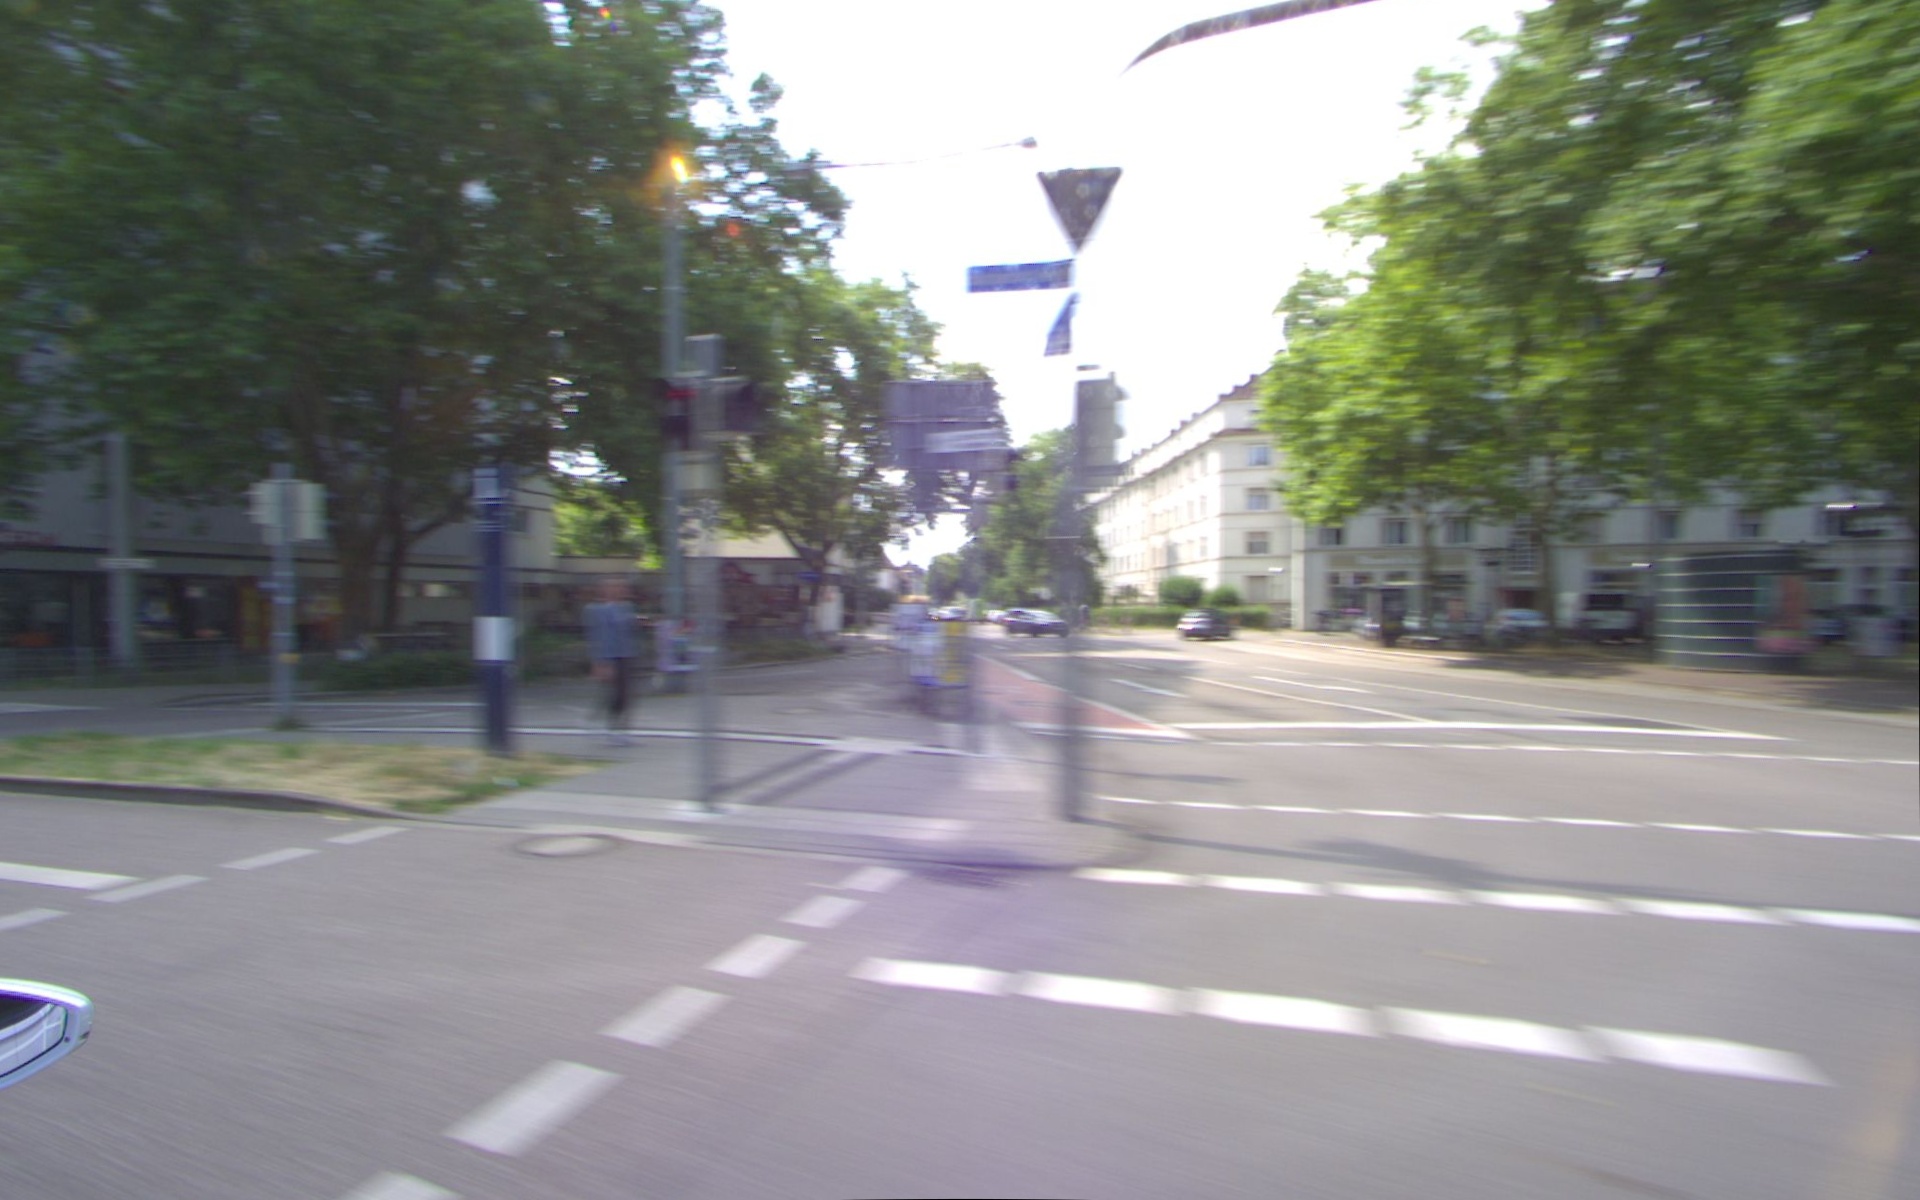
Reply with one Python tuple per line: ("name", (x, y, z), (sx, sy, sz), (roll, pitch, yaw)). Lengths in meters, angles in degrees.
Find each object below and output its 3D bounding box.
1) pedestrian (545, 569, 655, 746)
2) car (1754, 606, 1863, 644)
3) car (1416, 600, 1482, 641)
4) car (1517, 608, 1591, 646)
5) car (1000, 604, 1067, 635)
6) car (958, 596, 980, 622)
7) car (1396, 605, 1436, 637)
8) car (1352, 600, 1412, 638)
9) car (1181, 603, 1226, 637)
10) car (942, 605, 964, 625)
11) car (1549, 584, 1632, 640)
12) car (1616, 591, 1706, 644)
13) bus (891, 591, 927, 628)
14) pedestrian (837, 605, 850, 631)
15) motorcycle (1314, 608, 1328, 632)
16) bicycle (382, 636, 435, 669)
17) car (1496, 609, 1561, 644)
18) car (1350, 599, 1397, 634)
("pedestrian", (-3.842, 0.589, 10.718), (0.871, 1.807, 0.693), (0, 0, 20))
("car", (33.671, 0.951, 39.879), (1.964, 1.441, 3.993), (0, -1, 19))
("car", (21.779, 0.889, 44.756), (1.877, 1.712, 4.533), (0, -1, 16))
("car", (22.959, 1.037, 38.804), (1.442, 1.407, 3.066), (0, 0, 9))
("car", (4.124, 1.089, 56.696), (1.766, 1.683, 4.294), (0, 0, -29))
("car", (0.893, 0.915, 106.242), (2.085, 2.676, 6.327), (0, 0, -1))
("car", (24.846, 1.110, 54.631), (1.443, 1.688, 3.064), (0, 0, 14))
("car", (18.853, 0.851, 44.918), (1.997, 1.621, 4.533), (0, -1, 16))
("car", (11.821, 0.950, 48.485), (1.668, 1.558, 3.459), (0, 1, 21))
("car", (-0.662, 1.303, 89.010), (1.831, 1.683, 3.748), (0, 0, -2))
("car", (26.281, 0.514, 41.905), (1.964, 2.211, 4.250), (0, 0, 19))
("car", (29.040, 0.706, 41.626), (1.964, 2.103, 3.993), (0, 0, 19))
("bus", (-4.039, 0.747, 77.889), (2.356, 2.744, 6.368), (0, 0, -7))
("pedestrian", (-6.614, 1.012, 56.727), (0.658, 1.498, 0.575), (1, 0, 2))
("motorcycle", (20.011, 1.102, 55.521), (0.561, 1.259, 1.883), (0, 0, 16))
("bicycle", (-14.360, 1.352, 26.109), (0.294, 0.807, 1.205), (0, 0, 35))
("car", (24.170, 1.099, 42.681), (1.442, 1.407, 3.234), (0, 0, 11))
("car", (22.900, 0.908, 55.624), (1.877, 1.819, 4.715), (0, -1, 16))
